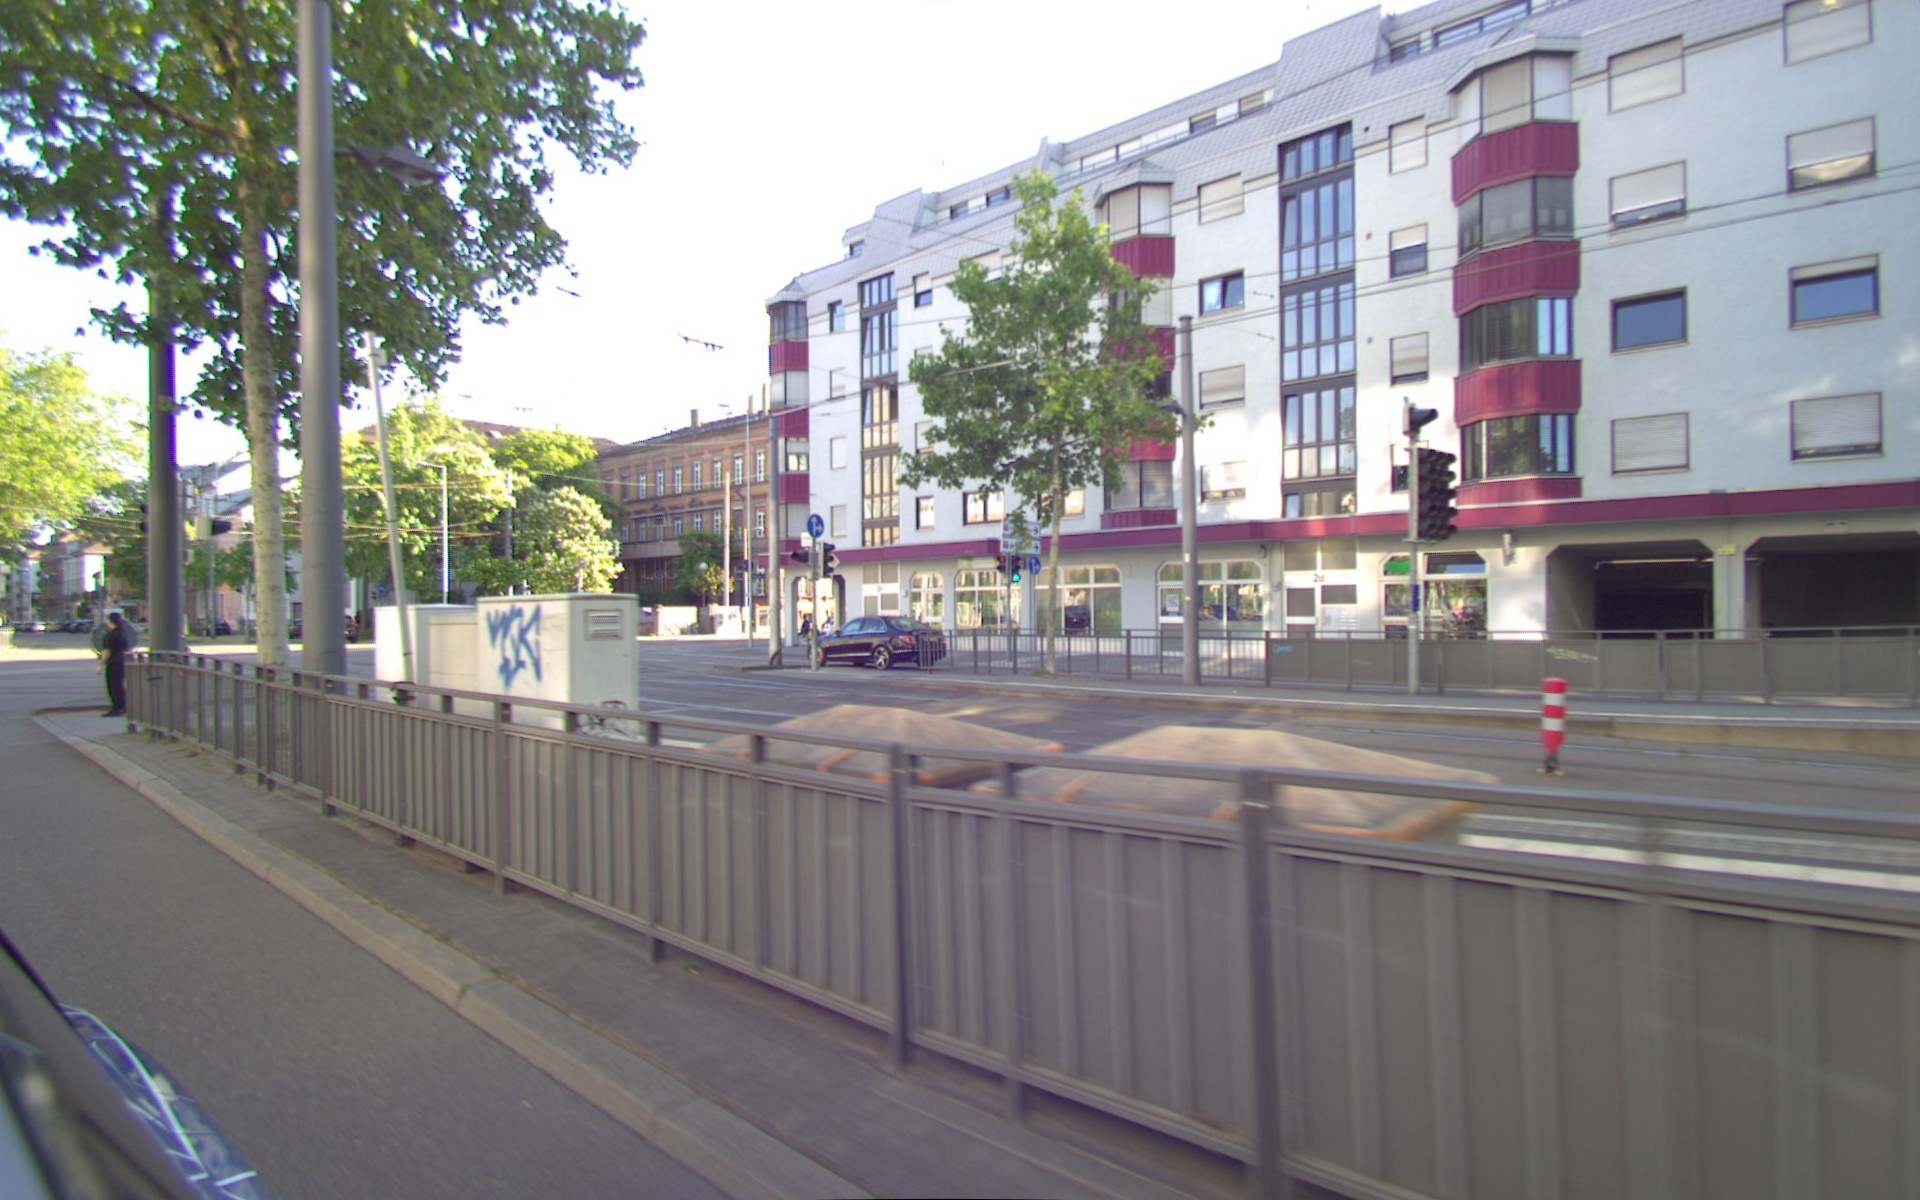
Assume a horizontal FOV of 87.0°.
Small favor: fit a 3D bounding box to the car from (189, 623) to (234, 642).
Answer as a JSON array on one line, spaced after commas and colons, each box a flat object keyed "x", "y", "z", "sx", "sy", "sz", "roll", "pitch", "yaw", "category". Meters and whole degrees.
[{"x": -65.278, "y": 2.805, "z": 88.220, "sx": 4.575, "sy": 1.481, "sz": 2.061, "roll": -1, "pitch": 1, "yaw": 39, "category": "car"}]

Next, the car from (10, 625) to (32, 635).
[{"x": -150.236, "y": 4.823, "z": 161.880, "sx": 4.005, "sy": 1.551, "sz": 2.061, "roll": -1, "pitch": 1, "yaw": 39, "category": "car"}]

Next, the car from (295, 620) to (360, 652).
[{"x": -35.169, "y": 1.961, "z": 56.261, "sx": 4.258, "sy": 1.685, "sz": 1.935, "roll": -2, "pitch": -1, "yaw": 41, "category": "car"}]

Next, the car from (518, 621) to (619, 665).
[{"x": -15.161, "y": 1.626, "z": 39.081, "sx": 4.259, "sy": 1.607, "sz": 1.934, "roll": -2, "pitch": -1, "yaw": 42, "category": "car"}]

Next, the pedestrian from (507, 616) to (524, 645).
[{"x": -26.825, "y": 1.830, "z": 61.071, "sx": 0.626, "sy": 1.677, "sz": 0.566, "roll": -2, "pitch": 1, "yaw": 16, "category": "pedestrian"}]

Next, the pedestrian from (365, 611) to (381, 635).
[{"x": -43.000, "y": 1.667, "z": 74.158, "sx": 1.019, "sy": 1.765, "sz": 0.726, "roll": -1, "pitch": -2, "yaw": 40, "category": "pedestrian"}]

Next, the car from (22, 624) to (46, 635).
[{"x": -142.193, "y": 4.578, "z": 155.427, "sx": 4.252, "sy": 1.551, "sz": 2.061, "roll": -1, "pitch": 1, "yaw": 39, "category": "car"}]

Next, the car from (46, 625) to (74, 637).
[{"x": -123.614, "y": 4.280, "z": 138.972, "sx": 5.100, "sy": 1.551, "sz": 2.061, "roll": -1, "pitch": 1, "yaw": 39, "category": "car"}]

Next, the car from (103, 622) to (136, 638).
[{"x": -96.186, "y": 3.441, "z": 115.782, "sx": 4.528, "sy": 1.686, "sz": 2.061, "roll": -1, "pitch": 1, "yaw": 39, "category": "car"}]

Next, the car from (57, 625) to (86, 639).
[{"x": -114.090, "y": 4.113, "z": 129.968, "sx": 4.512, "sy": 1.551, "sz": 2.061, "roll": -1, "pitch": 1, "yaw": 39, "category": "car"}]

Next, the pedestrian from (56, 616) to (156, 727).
[{"x": -12.532, "y": 1.017, "z": 14.883, "sx": 1.031, "sy": 1.556, "sz": 0.696, "roll": 0, "pitch": -1, "yaw": -32, "category": "pedestrian"}]

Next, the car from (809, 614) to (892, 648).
[{"x": -5.315, "y": 1.493, "z": 49.552, "sx": 1.995, "sy": 1.567, "sz": 3.954, "roll": -1, "pitch": -1, "yaw": 34, "category": "car"}]

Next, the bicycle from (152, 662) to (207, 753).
[{"x": -8.814, "y": 1.192, "z": 11.411, "sx": 0.391, "sy": 0.956, "sz": 1.352, "roll": 1, "pitch": -4, "yaw": -42, "category": "bicycle"}]

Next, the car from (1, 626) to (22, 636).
[{"x": -161.504, "y": 5.331, "z": 172.296, "sx": 4.116, "sy": 1.551, "sz": 2.061, "roll": -1, "pitch": 1, "yaw": 39, "category": "car"}]

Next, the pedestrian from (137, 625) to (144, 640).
[{"x": -99.397, "y": 3.896, "z": 122.752, "sx": 0.705, "sy": 1.823, "sz": 0.554, "roll": -2, "pitch": -2, "yaw": 43, "category": "pedestrian"}]

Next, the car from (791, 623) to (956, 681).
[{"x": -2.403, "y": 1.349, "z": 27.310, "sx": 4.648, "sy": 1.410, "sz": 1.683, "roll": -1, "pitch": -1, "yaw": 41, "category": "car"}]

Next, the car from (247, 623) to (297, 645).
[{"x": -52.502, "y": 2.591, "z": 77.227, "sx": 3.993, "sy": 1.501, "sz": 2.061, "roll": -1, "pitch": 1, "yaw": 39, "category": "car"}]

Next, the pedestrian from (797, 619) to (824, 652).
[{"x": -6.629, "y": 1.565, "z": 44.793, "sx": 0.834, "sy": 1.395, "sz": 0.850, "roll": -1, "pitch": -1, "yaw": 32, "category": "pedestrian"}]
